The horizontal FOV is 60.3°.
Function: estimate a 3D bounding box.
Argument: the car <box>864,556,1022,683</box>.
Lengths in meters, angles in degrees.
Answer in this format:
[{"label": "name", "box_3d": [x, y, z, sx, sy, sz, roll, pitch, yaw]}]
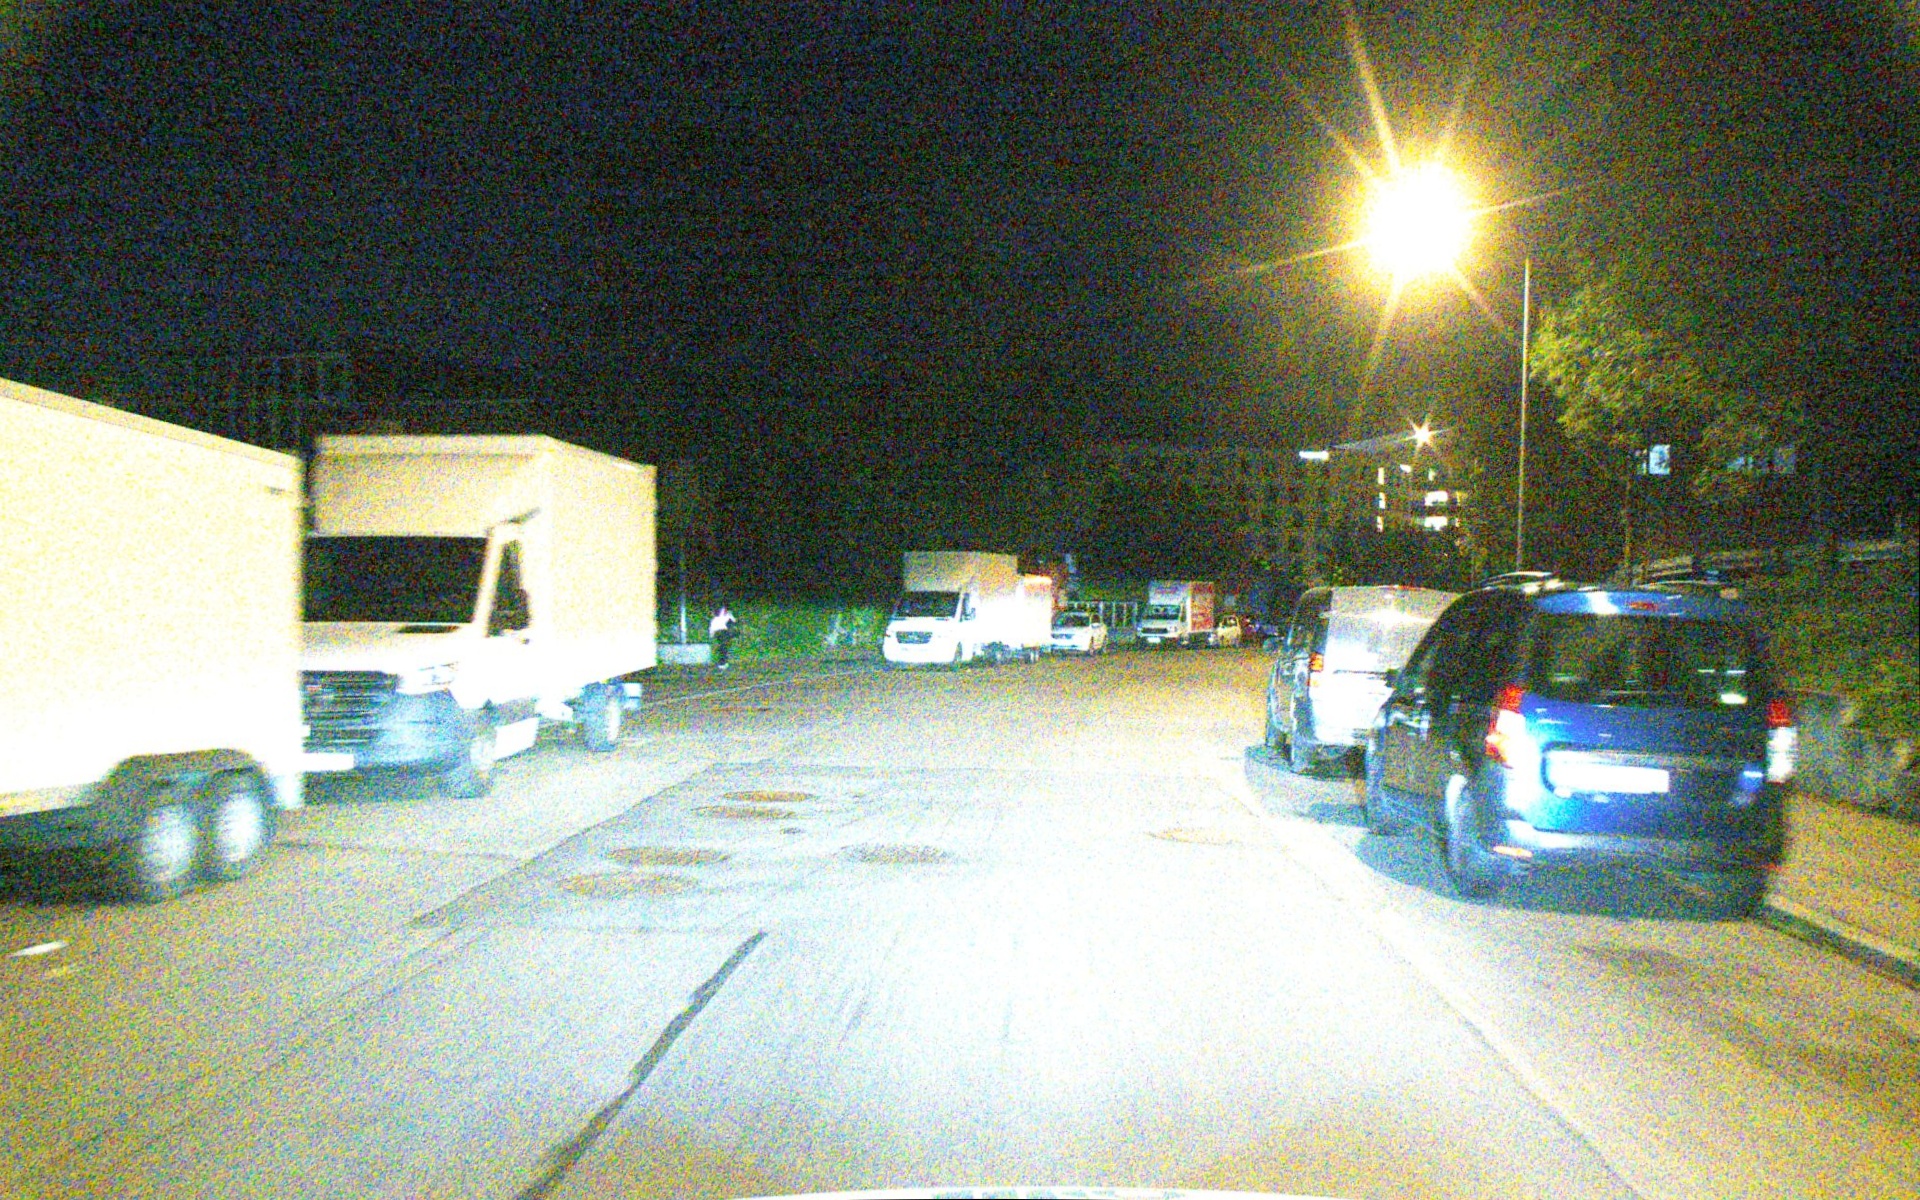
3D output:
[{"label": "car", "box_3d": [-0.334, 0.526, 45.949, 2.465, 3.227, 7.142, -1, -1, 16]}]

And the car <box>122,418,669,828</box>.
[{"label": "car", "box_3d": [-4.777, 0.198, 15.705, 2.466, 2.979, 7.203, 0, -1, 2]}]

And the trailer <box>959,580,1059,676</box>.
[{"label": "trailer", "box_3d": [1.616, 0.849, 52.373, 1.951, 2.862, 4.705, 1, 0, 17]}]

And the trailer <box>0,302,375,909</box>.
[{"label": "trailer", "box_3d": [-4.798, 0.036, 8.828, 1.952, 2.572, 3.569, -1, 0, 2]}]

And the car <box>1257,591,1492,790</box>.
[{"label": "car", "box_3d": [4.364, 0.912, 17.990, 1.685, 1.853, 4.001, 2, -1, 3]}]

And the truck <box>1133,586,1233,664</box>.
[{"label": "truck", "box_3d": [10.847, 1.157, 79.665, 1.955, 3.463, 8.971, 2, 1, 26]}]

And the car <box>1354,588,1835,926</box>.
[{"label": "car", "box_3d": [3.785, 0.853, 10.628, 1.685, 1.690, 4.001, 2, -1, 3]}]

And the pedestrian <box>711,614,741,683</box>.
[{"label": "pedestrian", "box_3d": [-5.818, 1.192, 41.090, 0.664, 1.681, 0.651, 1, 1, -16]}]

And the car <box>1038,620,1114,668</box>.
[{"label": "car", "box_3d": [4.462, 1.686, 63.300, 1.952, 1.729, 4.208, 2, -1, 17]}]
